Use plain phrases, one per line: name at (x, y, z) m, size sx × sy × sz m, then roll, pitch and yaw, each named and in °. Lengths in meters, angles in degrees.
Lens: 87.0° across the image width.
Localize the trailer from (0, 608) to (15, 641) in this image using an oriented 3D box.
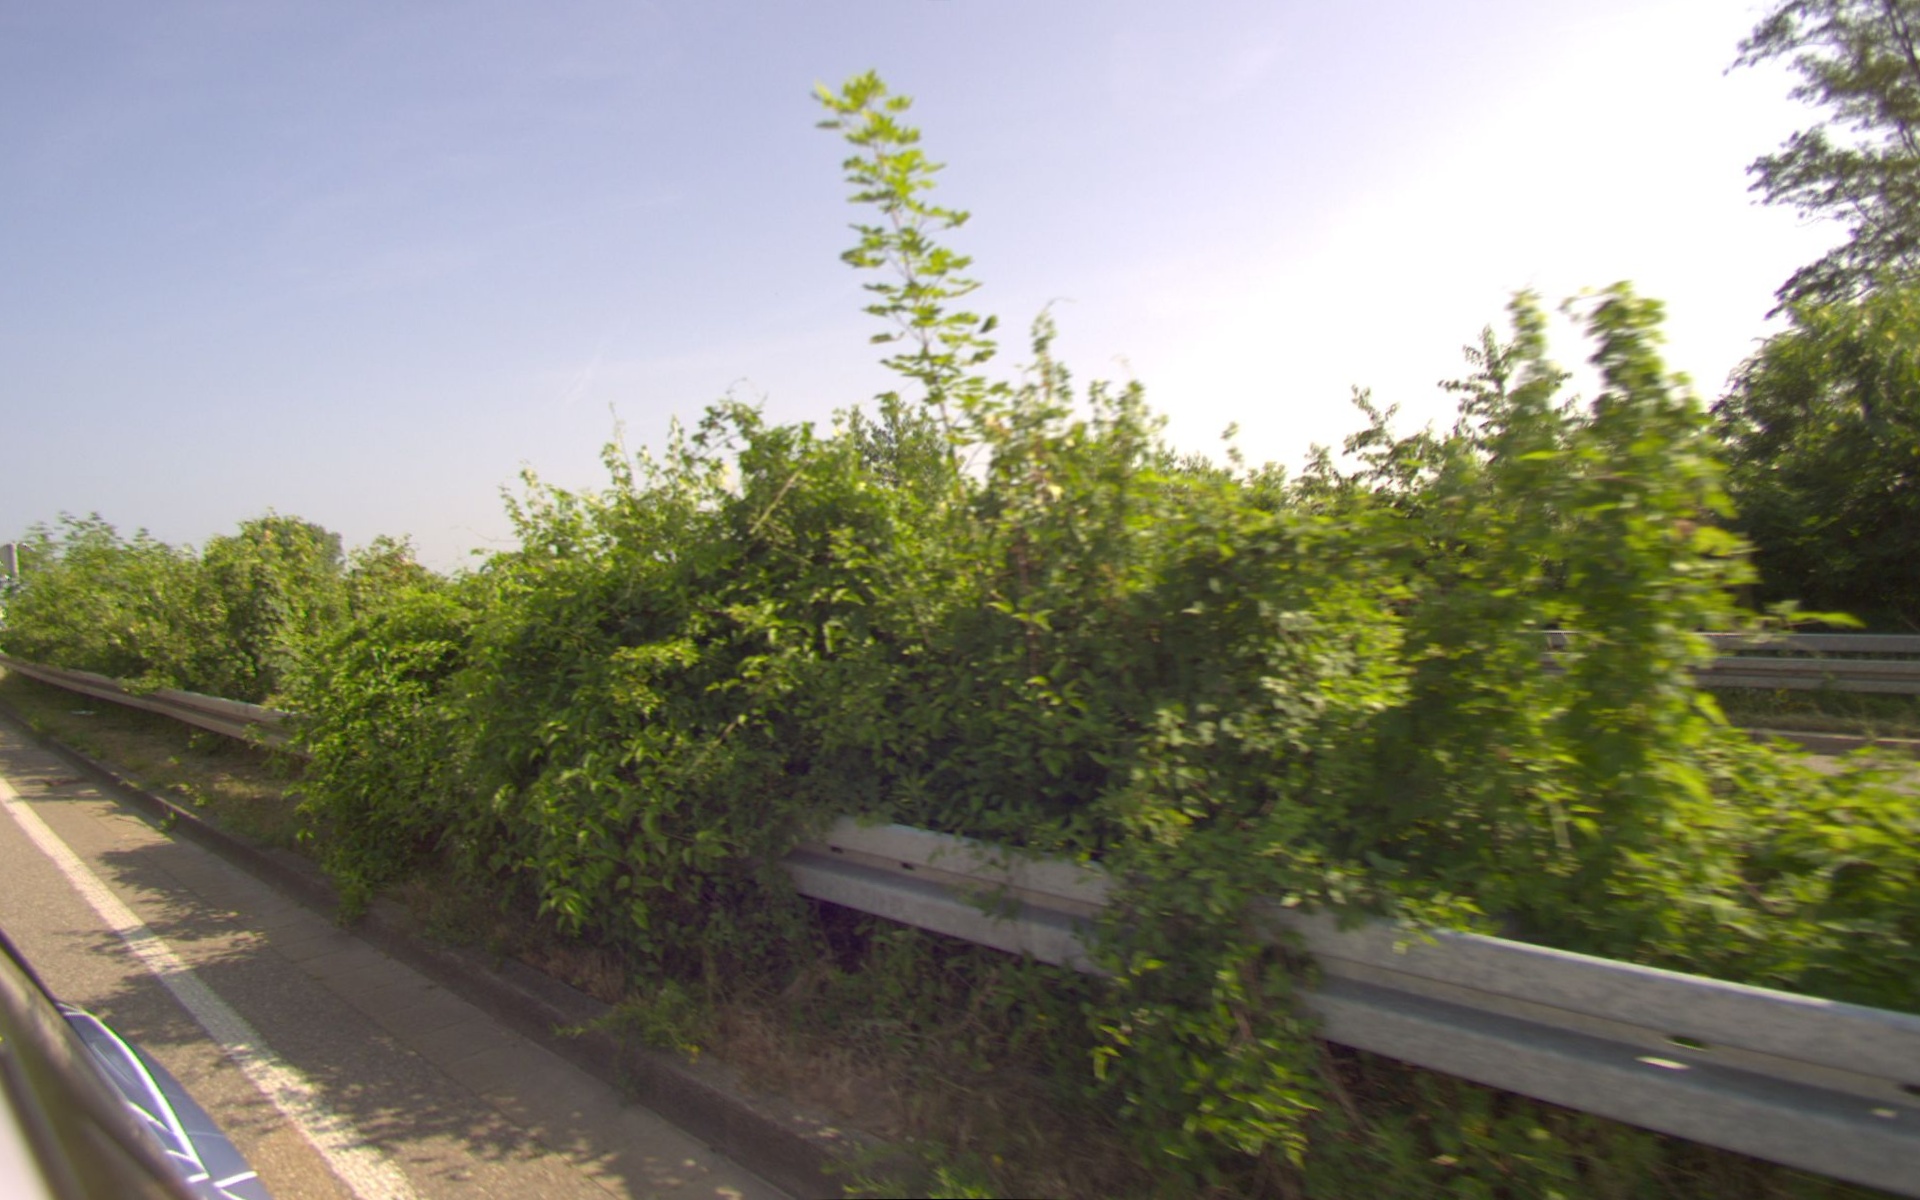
trailer at (-122.157, 3.093, 127.652) m, size 2.719 × 4.021 × 8.209 m, roll -1°, pitch -1°, yaw -32°
